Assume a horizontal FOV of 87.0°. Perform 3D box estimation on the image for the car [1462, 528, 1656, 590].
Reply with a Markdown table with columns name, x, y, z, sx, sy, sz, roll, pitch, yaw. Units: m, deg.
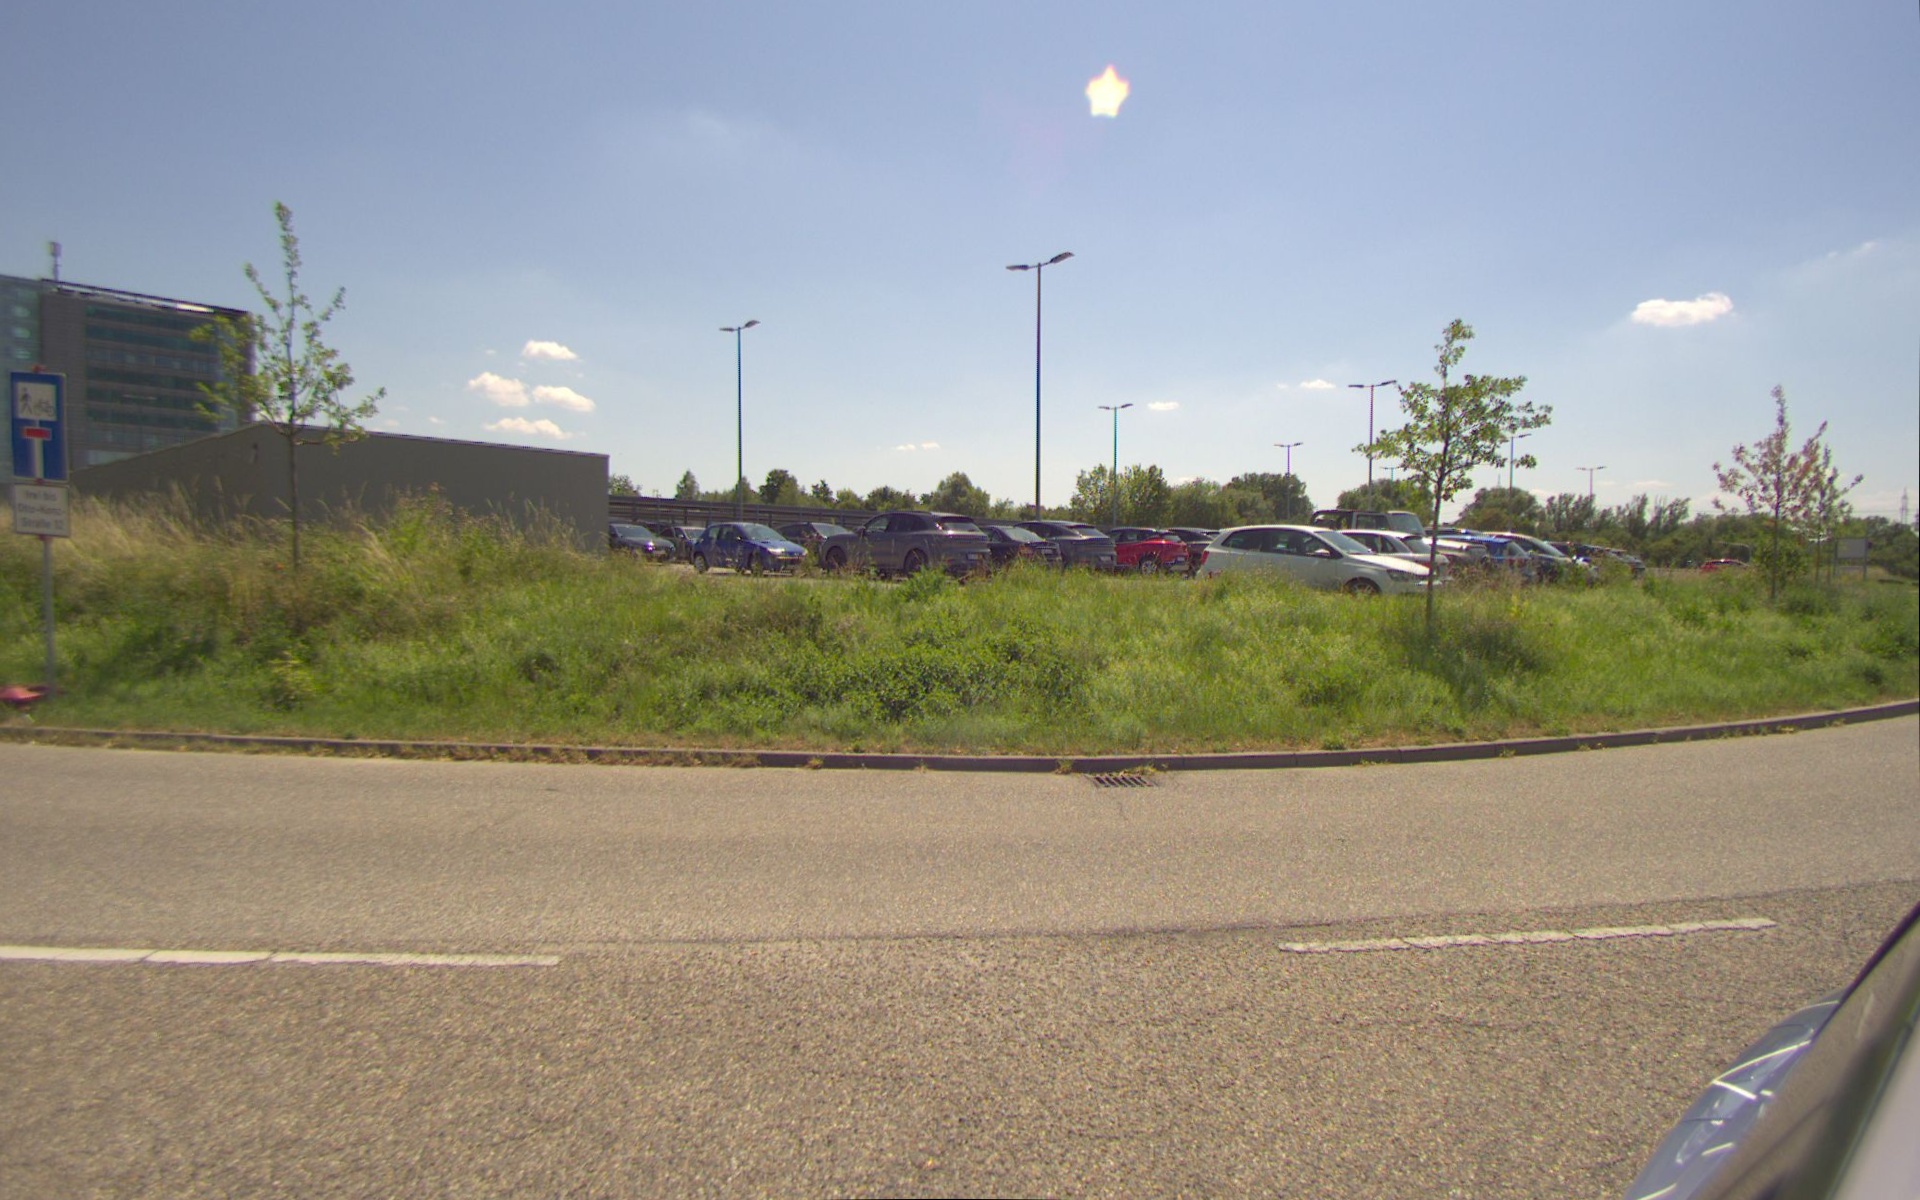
| name | x | y | z | sx | sy | sz | roll | pitch | yaw |
| --- | --- | --- | --- | --- | --- | --- | --- | --- | --- |
| car | 16.728 | -1.195 | 28.390 | 4.387 | 1.564 | 1.788 | 5 | 5 | 42 |

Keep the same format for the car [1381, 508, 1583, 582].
| name | x | y | z | sx | sy | sz | roll | pitch | yaw |
| --- | --- | --- | --- | --- | --- | --- | --- | --- | --- |
| car | 12.486 | -1.271 | 24.346 | 4.021 | 1.448 | 1.663 | -3 | 0 | 41 |

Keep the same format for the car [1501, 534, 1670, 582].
| name | x | y | z | sx | sy | sz | roll | pitch | yaw |
| --- | --- | --- | --- | --- | --- | --- | --- | --- | --- |
| car | 18.507 | -1.223 | 30.023 | 3.988 | 1.307 | 1.879 | 1 | 3 | 44 |

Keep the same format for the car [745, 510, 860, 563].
| name | x | y | z | sx | sy | sz | roll | pitch | yaw |
| --- | --- | --- | --- | --- | --- | --- | --- | --- | --- |
| car | -4.887 | -1.984 | 31.198 | 3.627 | 1.517 | 1.575 | 5 | 5 | 42 |

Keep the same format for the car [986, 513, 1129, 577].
| name | x | y | z | sx | sy | sz | roll | pitch | yaw |
| --- | --- | --- | --- | --- | --- | --- | --- | --- | --- |
| car | 2.664 | -1.558 | 28.136 | 3.627 | 1.616 | 1.743 | 5 | 5 | 42 |

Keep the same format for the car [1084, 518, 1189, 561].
| name | x | y | z | sx | sy | sz | roll | pitch | yaw |
| --- | --- | --- | --- | --- | --- | --- | --- | --- | --- |
| car | 6.832 | -2.372 | 39.312 | 3.627 | 1.517 | 1.743 | 5 | 5 | 42 |

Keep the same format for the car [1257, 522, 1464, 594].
| name | x | y | z | sx | sy | sz | roll | pitch | yaw |
| --- | --- | --- | --- | --- | --- | --- | --- | --- | --- |
| car | 7.319 | -0.812 | 18.655 | 3.260 | 1.196 | 1.479 | 3 | 6 | 43 |

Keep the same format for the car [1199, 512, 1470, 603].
| name | x | y | z | sx | sy | sz | roll | pitch | yaw |
| --- | --- | --- | --- | --- | --- | --- | --- | --- | --- |
| car | 6.006 | -0.746 | 16.532 | 3.867 | 1.312 | 1.550 | 3 | 6 | 44 |

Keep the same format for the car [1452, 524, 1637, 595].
| name | x | y | z | sx | sy | sz | roll | pitch | yaw |
| --- | --- | --- | --- | --- | --- | --- | --- | --- | --- |
| car | 14.966 | -1.098 | 26.020 | 3.834 | 1.643 | 1.594 | 5 | 5 | 41 |

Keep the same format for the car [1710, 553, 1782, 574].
| name | x | y | z | sx | sy | sz | roll | pitch | yaw |
| --- | --- | --- | --- | --- | --- | --- | --- | --- | --- |
| car | 55.603 | -2.574 | 71.610 | 3.980 | 1.367 | 1.624 | 1 | 3 | 39 |

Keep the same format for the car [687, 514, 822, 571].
| name | x | y | z | sx | sy | sz | roll | pitch | yaw |
| --- | --- | --- | --- | --- | --- | --- | --- | --- | --- |
| car | -5.684 | -1.608 | 27.855 | 3.618 | 1.463 | 1.632 | 4 | 4 | 36 |

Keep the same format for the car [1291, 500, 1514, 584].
| name | x | y | z | sx | sy | sz | roll | pitch | yaw |
| --- | --- | --- | --- | --- | --- | --- | --- | --- | --- |
| car | 8.952 | -1.209 | 20.681 | 1.845 | 1.545 | 3.743 | -4 | 6 | -42 |

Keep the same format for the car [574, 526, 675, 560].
| name | x | y | z | sx | sy | sz | roll | pitch | yaw |
| --- | --- | --- | --- | --- | --- | --- | --- | --- | --- |
| car | -12.038 | -2.072 | 36.257 | 3.725 | 1.098 | 1.550 | 4 | 6 | 36 |

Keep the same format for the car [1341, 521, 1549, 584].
| name | x | y | z | sx | sy | sz | roll | pitch | yaw |
| --- | --- | --- | --- | --- | --- | --- | --- | --- | --- |
| car | 10.760 | -1.095 | 22.590 | 3.930 | 1.272 | 1.563 | 3 | 5 | 40 |

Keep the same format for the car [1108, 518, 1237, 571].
| name | x | y | z | sx | sy | sz | roll | pitch | yaw |
| --- | --- | --- | --- | --- | --- | --- | --- | --- | --- |
| car | 7.045 | -1.830 | 33.694 | 3.861 | 1.619 | 1.716 | 1 | 3 | 40 |

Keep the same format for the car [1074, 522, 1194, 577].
| name | x | y | z | sx | sy | sz | roll | pitch | yaw |
| --- | --- | --- | --- | --- | --- | --- | --- | --- | --- |
| car | 5.404 | -1.554 | 31.540 | 3.404 | 1.593 | 1.501 | 1 | 3 | 40 |

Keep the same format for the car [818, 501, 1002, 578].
| name | x | y | z | sx | sy | sz | roll | pitch | yaw |
| --- | --- | --- | --- | --- | --- | --- | --- | --- | --- |
| car | -1.311 | -1.439 | 24.662 | 4.587 | 1.711 | 1.751 | 3 | 2 | 42 |

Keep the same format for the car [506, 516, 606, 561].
| name | x | y | z | sx | sy | sz | roll | pitch | yaw |
| --- | --- | --- | --- | --- | --- | --- | --- | --- | --- |
| car | -13.767 | -2.105 | 34.436 | 3.455 | 1.426 | 1.567 | 4 | 4 | 36 |

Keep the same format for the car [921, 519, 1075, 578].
| name | x | y | z | sx | sy | sz | roll | pitch | yaw |
| --- | --- | --- | --- | --- | --- | --- | --- | --- | --- |
| car | 0.925 | -1.369 | 26.188 | 3.835 | 1.378 | 1.628 | 5 | 5 | 42 |
